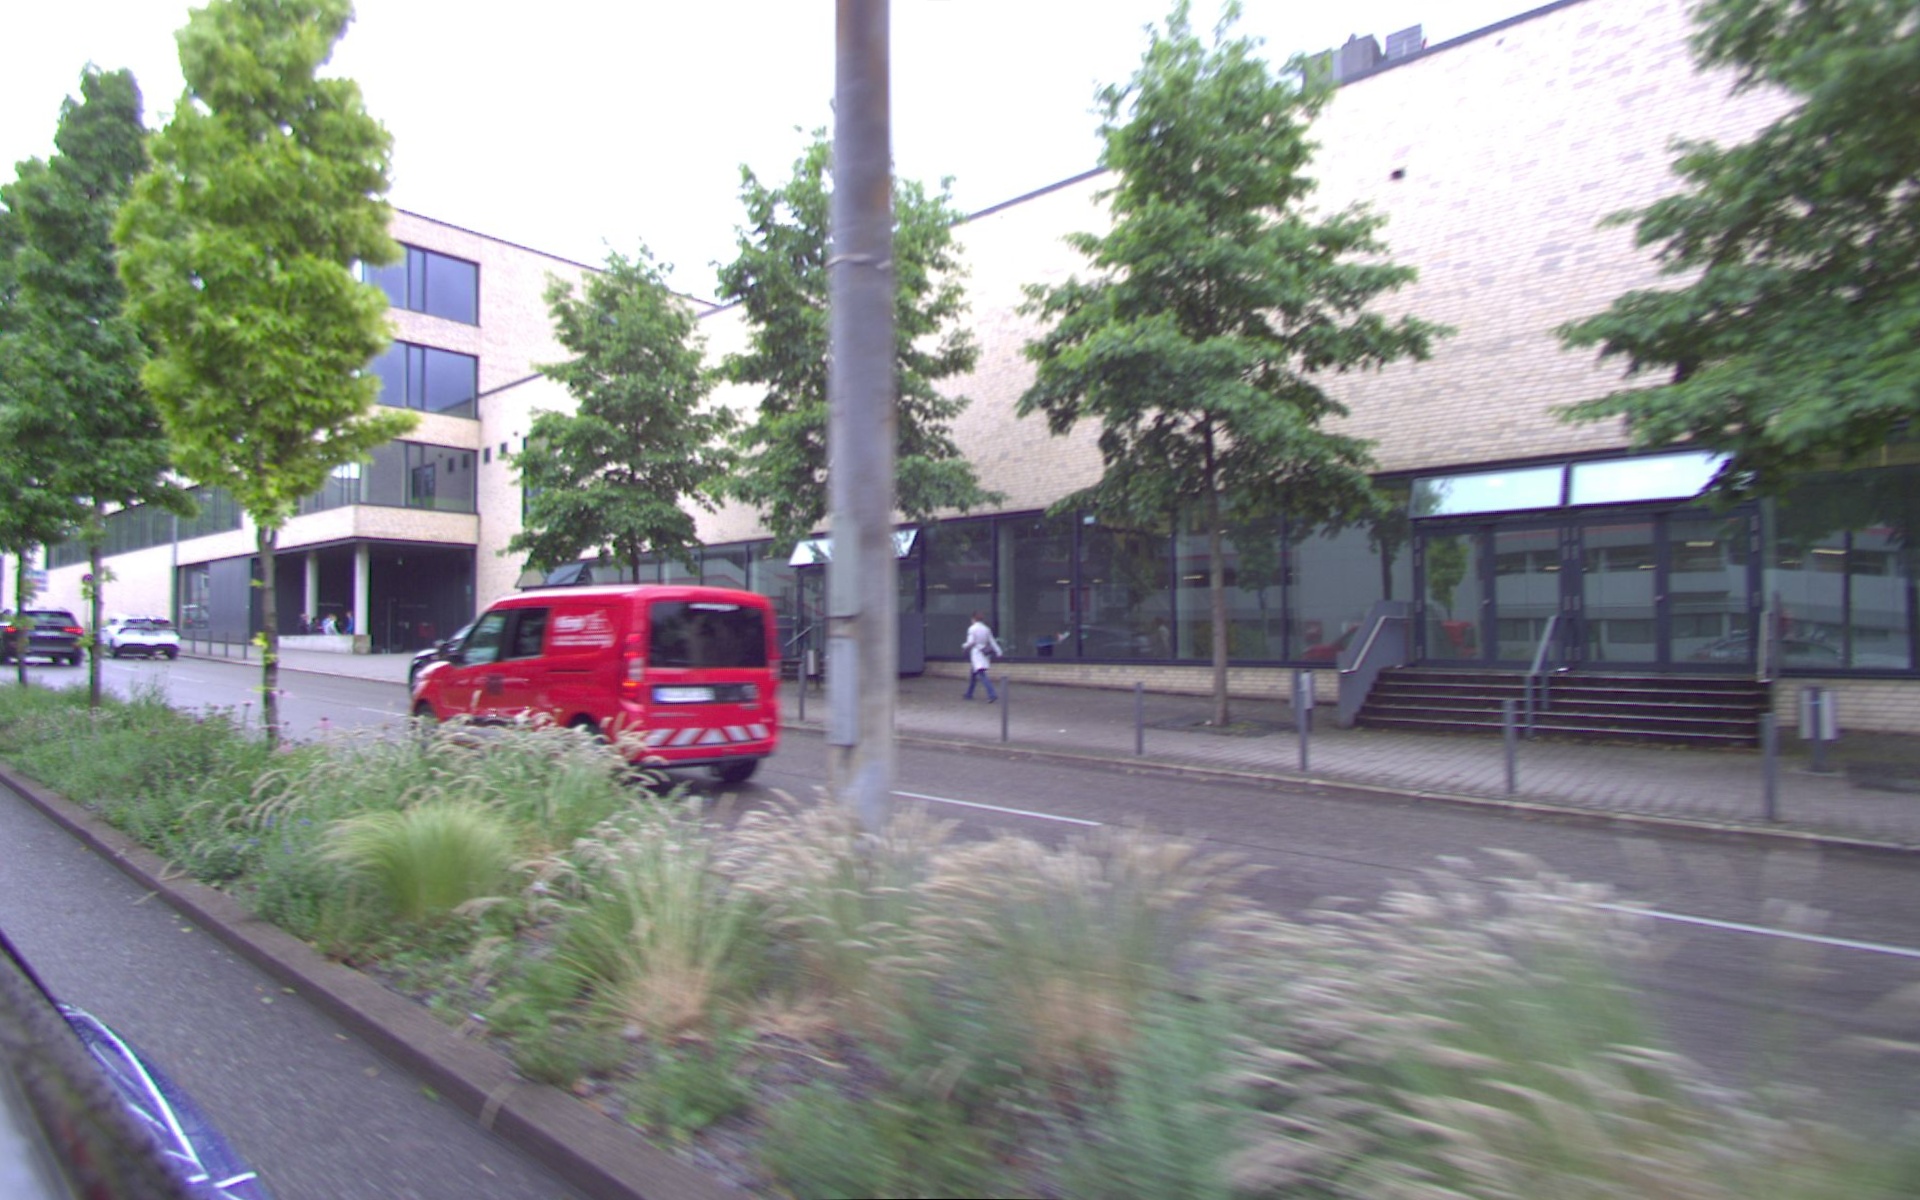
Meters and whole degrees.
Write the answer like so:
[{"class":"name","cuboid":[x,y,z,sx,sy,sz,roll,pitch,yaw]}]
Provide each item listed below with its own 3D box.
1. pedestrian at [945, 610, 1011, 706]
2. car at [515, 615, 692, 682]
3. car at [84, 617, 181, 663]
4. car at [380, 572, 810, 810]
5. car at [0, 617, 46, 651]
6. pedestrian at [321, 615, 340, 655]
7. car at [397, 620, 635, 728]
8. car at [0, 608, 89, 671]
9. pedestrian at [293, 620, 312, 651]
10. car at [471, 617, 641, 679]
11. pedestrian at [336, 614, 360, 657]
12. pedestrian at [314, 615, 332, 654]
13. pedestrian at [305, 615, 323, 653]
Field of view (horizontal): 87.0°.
[{"class":"pedestrian","cuboid":[0.329,1.035,18.514,1.017,1.678,0.637,0,1,35]},{"class":"car","cuboid":[-9.652,1.247,27.605,2.000,1.559,4.131,1,1,42]},{"class":"car","cuboid":[-28.808,1.383,35.203,4.226,1.480,1.715,-1,-4,39]},{"class":"car","cuboid":[-3.826,0.775,10.146,4.787,1.868,1.775,0,-4,39]},{"class":"car","cuboid":[-42.019,1.459,44.720,4.195,1.404,1.715,0,-3,39]},{"class":"pedestrian","cuboid":[-24.358,1.345,39.153,0.527,1.486,0.437,0,1,36]},{"class":"car","cuboid":[-7.731,1.194,17.434,4.533,1.599,1.869,-1,-4,40]},{"class":"car","cuboid":[-26.365,1.101,28.699,4.226,1.638,1.715,-1,-4,39]},{"class":"pedestrian","cuboid":[-26.420,1.431,40.659,0.422,1.224,0.542,0,1,44]},{"class":"car","cuboid":[-11.491,1.301,28.999,1.995,1.506,4.141,0,1,34]},{"class":"pedestrian","cuboid":[-24.891,1.427,41.167,0.704,1.727,0.628,0,1,41]},{"class":"pedestrian","cuboid":[-24.898,1.339,39.571,0.462,1.486,0.445,0,1,36]},{"class":"pedestrian","cuboid":[-25.635,1.358,40.171,0.462,1.486,0.445,0,1,36]}]
